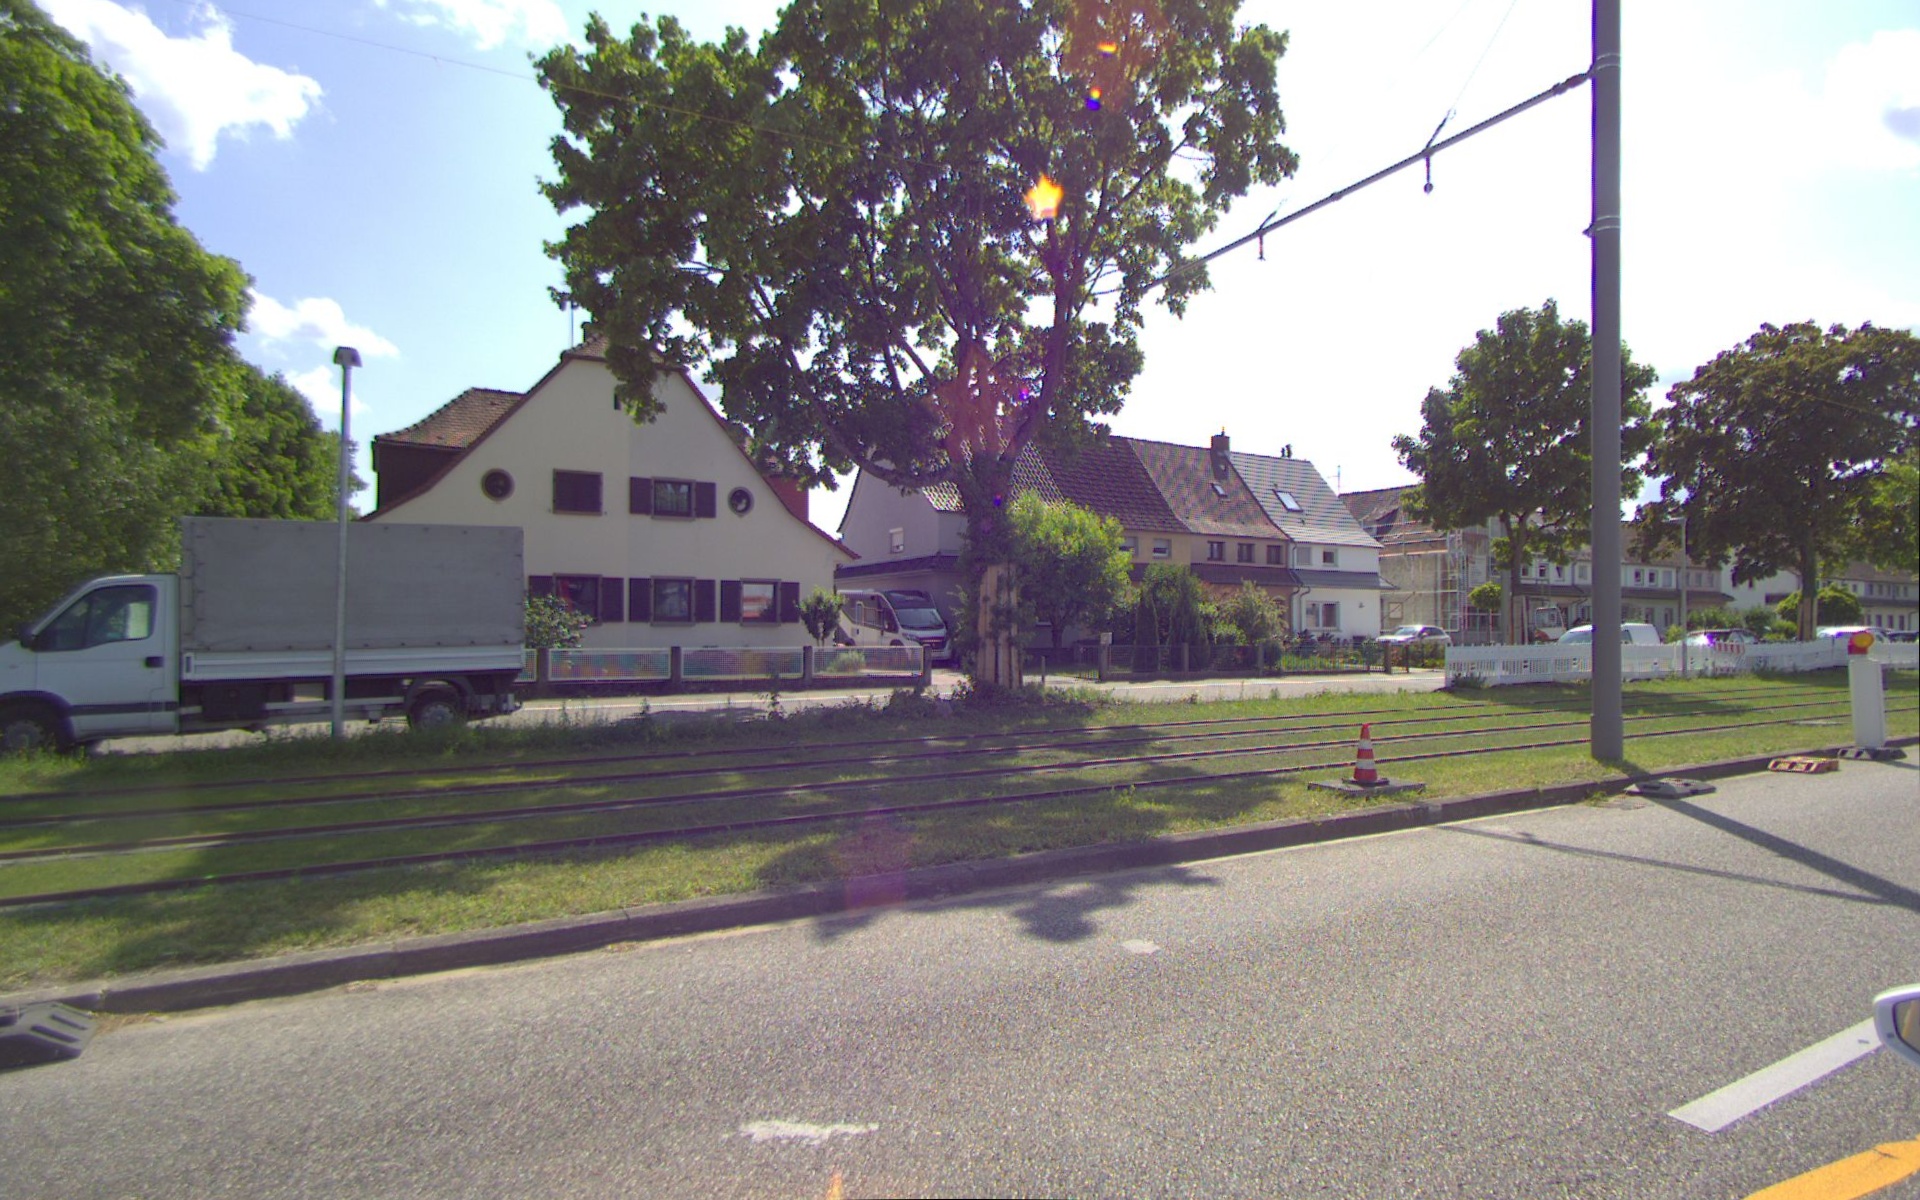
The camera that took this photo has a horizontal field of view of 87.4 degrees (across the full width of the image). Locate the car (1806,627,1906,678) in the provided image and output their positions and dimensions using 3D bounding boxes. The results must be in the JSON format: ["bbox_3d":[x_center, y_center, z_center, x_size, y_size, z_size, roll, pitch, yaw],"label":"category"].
[{"bbox_3d":[35.372,2.033,39.638,4.079,1.892,1.768,1,-2,-30],"label":"car"}]

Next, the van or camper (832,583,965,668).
[{"bbox_3d":[-2.373,0.944,36.619,2.269,2.801,6.051,1,-2,-32],"label":"van or camper"}]

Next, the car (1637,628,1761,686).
[{"bbox_3d":[24.300,1.816,32.999,4.177,1.797,1.768,1,-2,-30],"label":"car"}]

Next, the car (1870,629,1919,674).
[{"bbox_3d":[40.656,2.167,42.694,4.079,1.829,1.768,1,-2,-30],"label":"car"}]

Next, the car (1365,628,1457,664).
[{"bbox_3d":[20.000,1.995,44.494,3.952,1.539,1.768,1,-2,-30],"label":"car"}]

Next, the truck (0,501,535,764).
[{"bbox_3d":[-8.826,0.409,12.971,5.906,2.817,2.255,1,-2,-31],"label":"truck"}]

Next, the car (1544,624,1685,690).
[{"bbox_3d":[19.582,1.647,30.021,4.312,1.845,1.768,1,-2,-30],"label":"car"}]

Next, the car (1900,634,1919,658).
[{"bbox_3d":[70.043,3.305,72.742,4.079,1.745,1.768,1,-2,-30],"label":"car"}]
